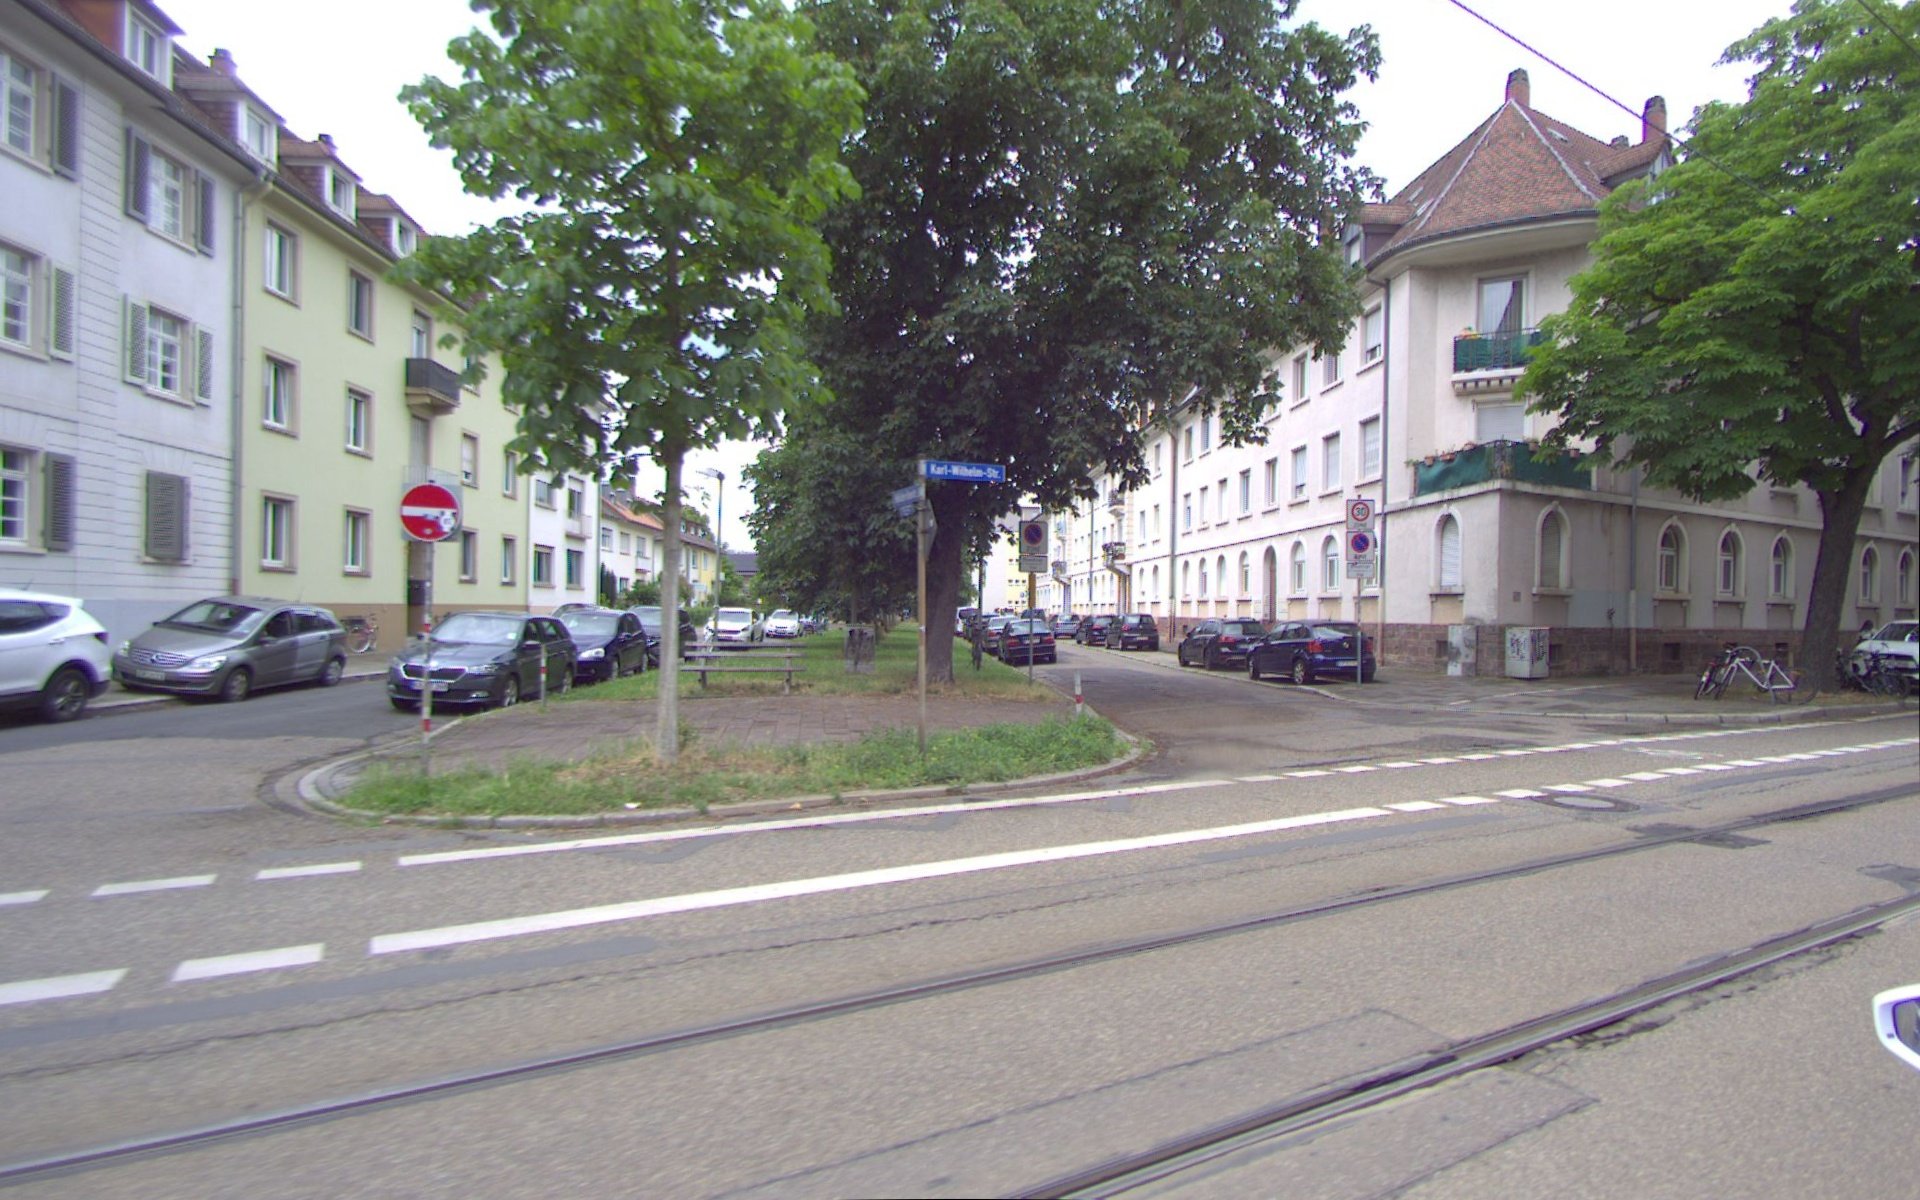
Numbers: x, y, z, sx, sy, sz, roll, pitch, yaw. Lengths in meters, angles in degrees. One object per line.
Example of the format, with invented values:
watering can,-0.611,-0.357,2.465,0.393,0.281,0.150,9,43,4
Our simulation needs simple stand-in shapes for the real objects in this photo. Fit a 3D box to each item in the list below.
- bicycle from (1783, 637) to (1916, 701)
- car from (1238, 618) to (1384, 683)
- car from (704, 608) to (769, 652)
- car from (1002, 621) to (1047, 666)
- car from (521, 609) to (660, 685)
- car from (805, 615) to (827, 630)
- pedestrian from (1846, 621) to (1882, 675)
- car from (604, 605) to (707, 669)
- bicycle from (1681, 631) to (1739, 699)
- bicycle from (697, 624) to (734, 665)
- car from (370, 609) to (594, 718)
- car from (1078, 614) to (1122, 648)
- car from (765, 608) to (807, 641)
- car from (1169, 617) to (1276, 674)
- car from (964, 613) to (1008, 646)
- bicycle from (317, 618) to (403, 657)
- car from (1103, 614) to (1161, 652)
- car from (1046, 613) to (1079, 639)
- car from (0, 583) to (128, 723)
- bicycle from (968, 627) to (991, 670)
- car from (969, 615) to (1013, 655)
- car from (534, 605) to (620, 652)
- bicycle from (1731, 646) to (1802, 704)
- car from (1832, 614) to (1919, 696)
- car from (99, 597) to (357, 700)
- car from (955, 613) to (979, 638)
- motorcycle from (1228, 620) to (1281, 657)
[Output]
bicycle,18.241,1.391,20.643,0.616,1.136,1.913,1,1,-30
car,7.956,1.100,23.114,1.708,1.324,3.757,1,-1,-7
car,-8.464,1.119,38.385,1.768,1.573,4.187,0,-1,-4
car,2.055,1.382,32.599,1.329,1.317,2.968,1,0,1
car,-7.660,0.925,21.206,1.633,1.364,4.008,1,0,-4
car,-10.240,1.588,71.759,1.273,1.002,3.166,1,0,-3
pedestrian,25.454,1.345,28.275,0.714,1.487,0.562,1,0,-30
car,-7.986,0.909,26.697,1.670,1.500,4.187,1,0,-4
bicycle,14.195,1.201,18.990,0.667,1.151,1.925,0,0,43
bicycle,-5.730,1.027,23.638,0.569,0.908,1.395,1,0,-2
car,-7.358,0.897,15.937,1.629,1.429,4.069,1,0,-1
car,6.579,1.428,47.607,1.511,1.494,4.000,1,0,0
car,-9.290,1.285,53.796,1.729,1.573,4.187,1,0,-4
car,7.498,1.260,29.055,1.675,1.483,3.940,1,0,-7
car,1.283,1.469,51.351,1.812,1.554,3.997,1,0,-5
bicycle,-16.309,0.999,27.402,0.804,0.913,2.666,4,-1,-3
car,7.193,1.355,42.245,1.642,1.460,3.498,1,0,-3
car,5.982,1.499,58.867,1.362,1.449,3.310,1,0,-3
car,-12.455,0.620,11.762,1.902,1.685,4.513,1,0,-5
bicycle,0.443,1.126,23.584,0.440,0.937,1.674,0,0,-2
car,1.226,1.337,39.420,1.640,1.428,4.001,1,0,2
car,-13.833,0.995,36.534,1.739,1.572,4.150,2,-1,-4
bicycle,14.352,1.314,17.867,1.380,0.971,0.481,1,0,-28
car,21.759,1.208,22.719,4.177,1.677,1.887,1,0,-31
car,-12.697,0.758,17.778,1.705,1.533,4.046,3,0,-3
car,0.412,1.553,61.259,1.270,1.409,3.116,1,0,-4
motorcycle,9.888,1.259,33.889,0.666,1.149,3.455,1,0,-1
